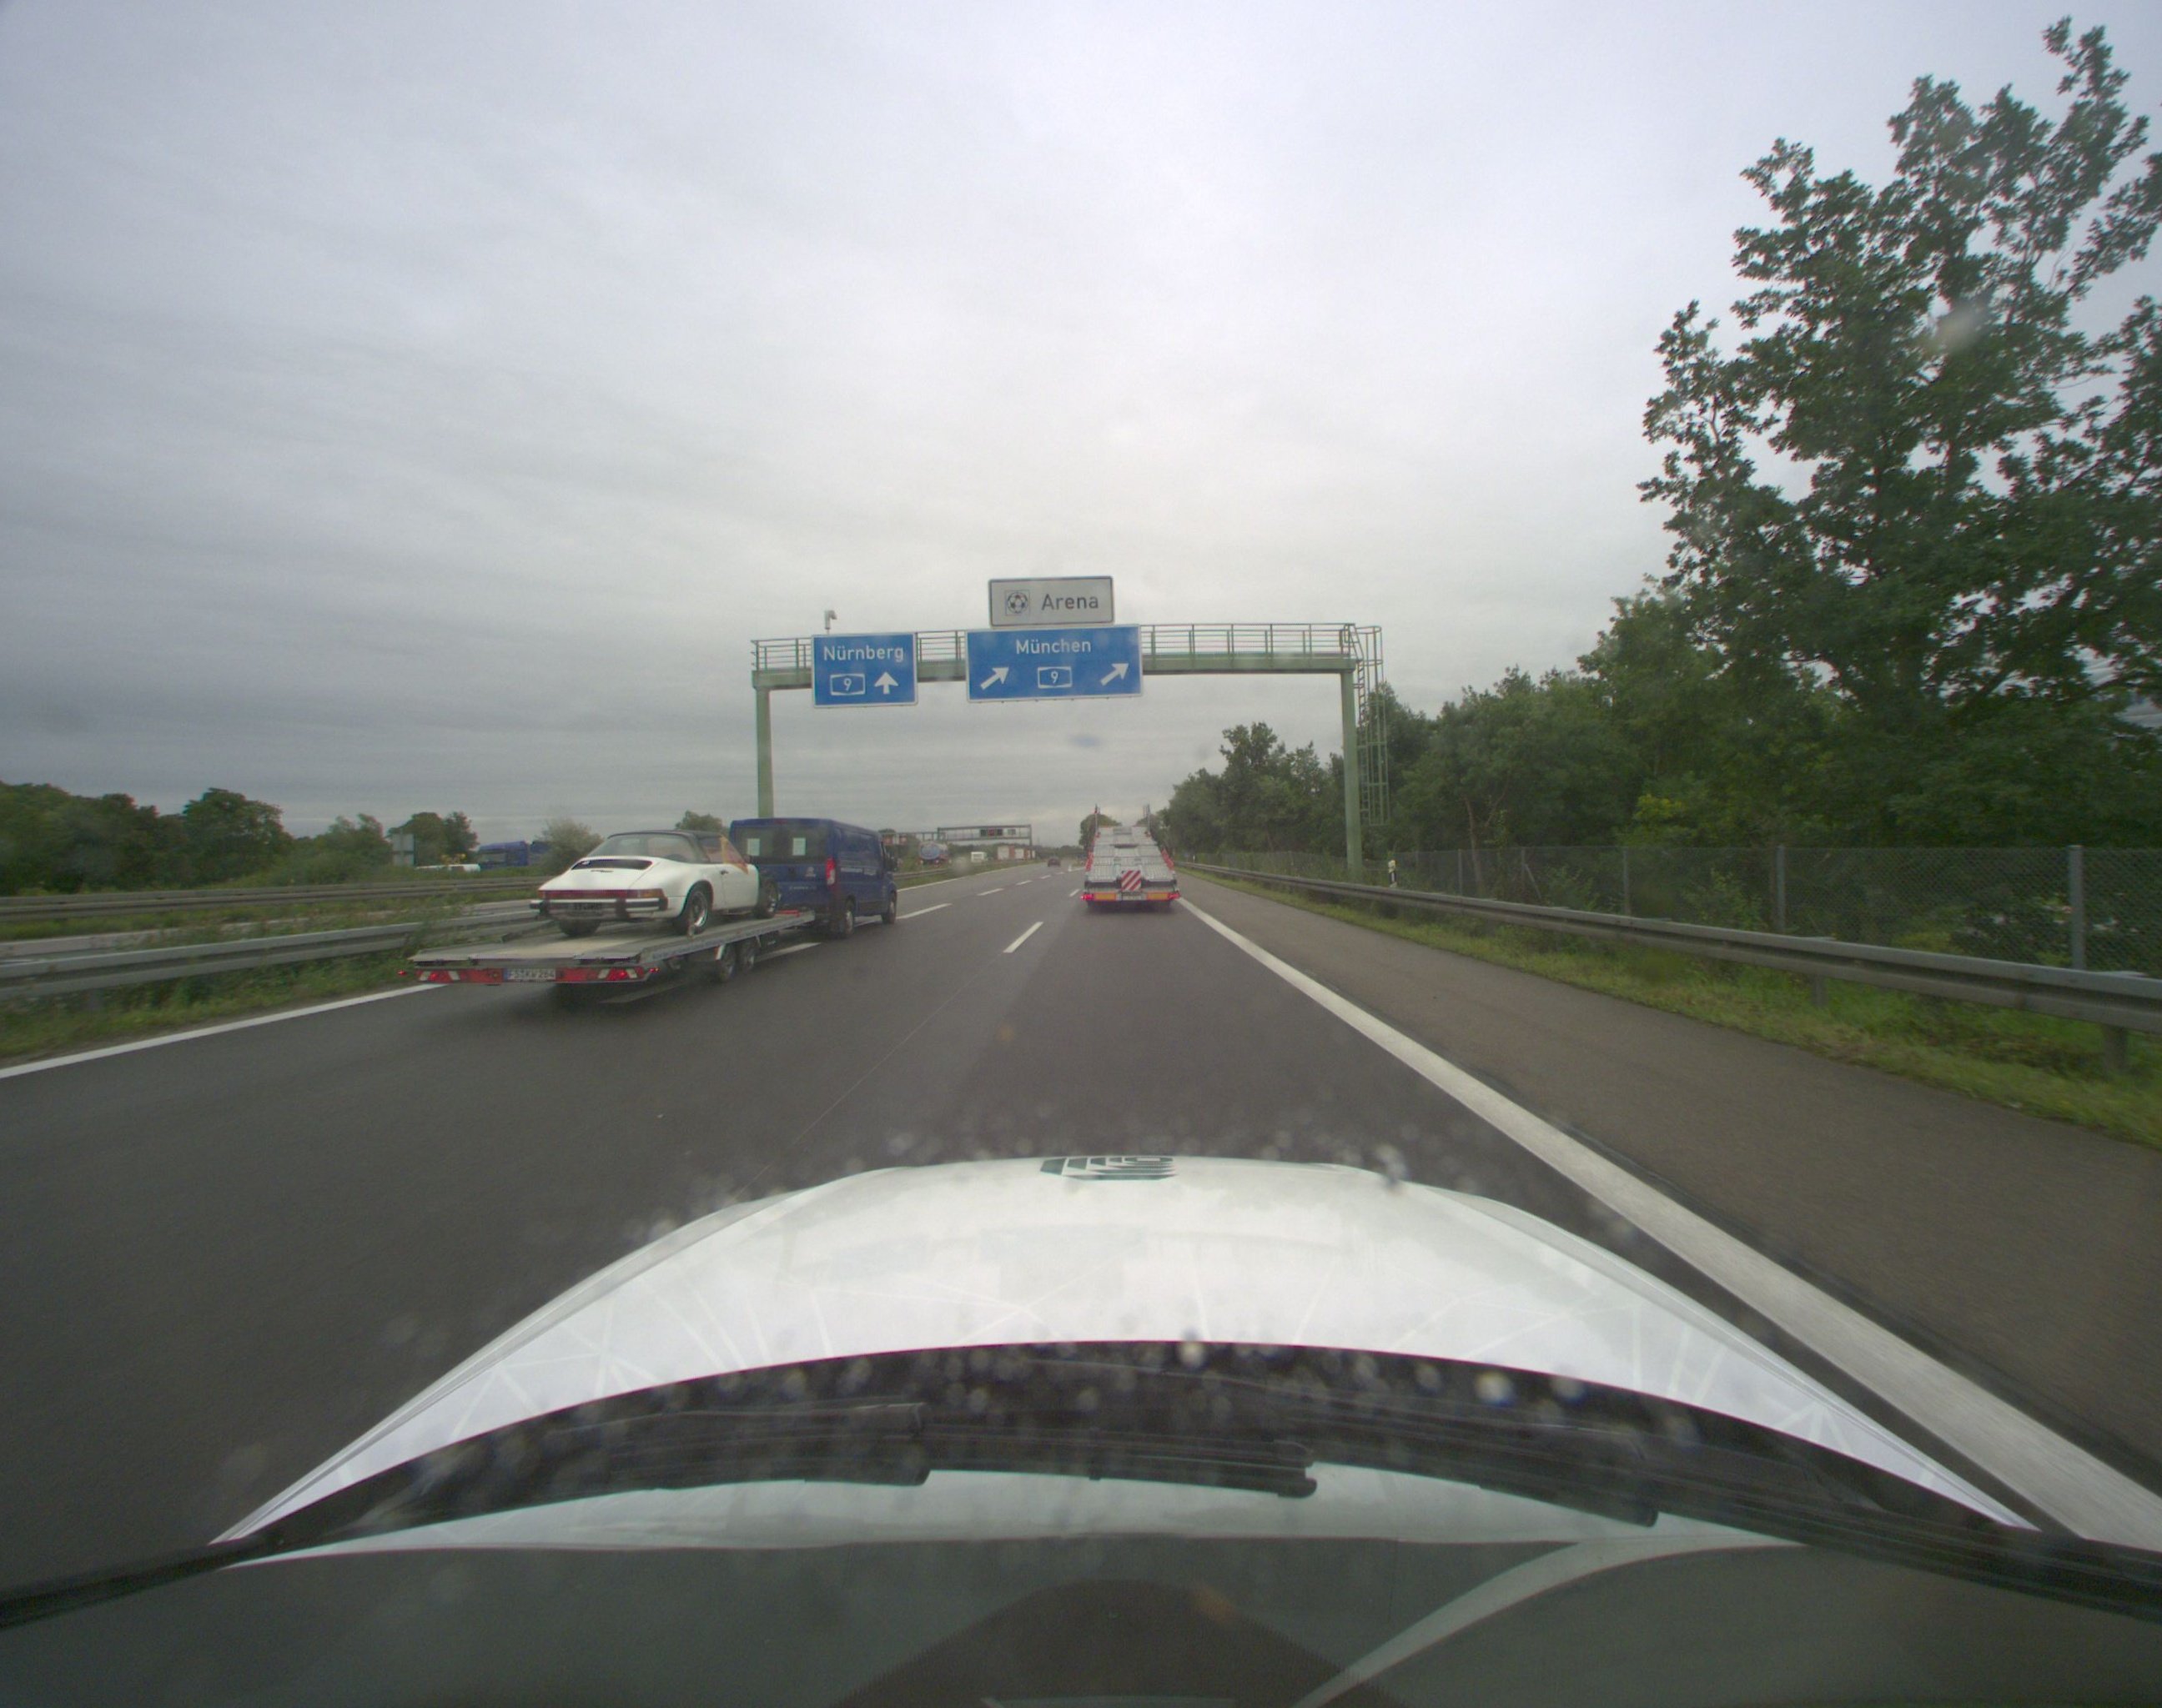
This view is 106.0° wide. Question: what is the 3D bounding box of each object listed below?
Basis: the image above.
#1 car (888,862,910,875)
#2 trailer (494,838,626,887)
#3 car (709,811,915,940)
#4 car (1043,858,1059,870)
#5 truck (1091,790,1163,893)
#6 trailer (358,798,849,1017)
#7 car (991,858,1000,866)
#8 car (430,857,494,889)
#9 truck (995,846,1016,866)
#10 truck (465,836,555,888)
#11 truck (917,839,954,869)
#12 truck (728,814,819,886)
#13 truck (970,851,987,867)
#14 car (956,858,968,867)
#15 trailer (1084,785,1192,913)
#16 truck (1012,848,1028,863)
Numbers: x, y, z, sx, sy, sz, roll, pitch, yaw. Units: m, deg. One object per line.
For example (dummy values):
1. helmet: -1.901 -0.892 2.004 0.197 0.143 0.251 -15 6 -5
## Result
1. car: -21.653 1.695 97.121 1.789 1.557 3.825 0 -1 0
2. trailer: -45.378 0.690 71.792 2.950 3.925 13.525 -1 0 0
3. car: -5.407 0.389 17.572 2.365 2.266 6.255 0 0 0
4. car: -4.184 1.434 113.178 1.955 1.637 5.624 0 -1 0
5. truck: 1.955 -0.491 35.931 2.728 3.967 9.133 0 0 2
6. trailer: -5.361 0.499 10.977 2.477 1.994 7.061 0 0 0
7. car: -20.623 1.892 197.296 1.724 2.014 3.999 0 -1 0
8. car: -48.774 1.454 64.308 2.016 2.376 3.998 -1 0 -1
9. truck: -17.449 0.390 188.655 3.721 4.417 10.193 0 0 0
10. truck: -45.372 0.610 64.892 2.950 3.925 5.897 -1 0 0
11. truck: -17.379 -0.004 97.723 2.848 3.365 8.629 -1 0 0
12. truck: -17.385 -0.179 46.567 2.631 3.812 7.337 0 -1 -2
13. truck: -17.818 0.887 141.453 2.236 2.704 5.278 0 0 0
14. car: -21.725 1.496 148.869 1.678 1.530 3.996 0 0 -2
15. trailer: 1.645 -0.130 26.230 2.767 3.285 10.411 0 0 2
16. truck: -17.450 0.415 235.185 3.721 4.417 11.894 0 0 0
